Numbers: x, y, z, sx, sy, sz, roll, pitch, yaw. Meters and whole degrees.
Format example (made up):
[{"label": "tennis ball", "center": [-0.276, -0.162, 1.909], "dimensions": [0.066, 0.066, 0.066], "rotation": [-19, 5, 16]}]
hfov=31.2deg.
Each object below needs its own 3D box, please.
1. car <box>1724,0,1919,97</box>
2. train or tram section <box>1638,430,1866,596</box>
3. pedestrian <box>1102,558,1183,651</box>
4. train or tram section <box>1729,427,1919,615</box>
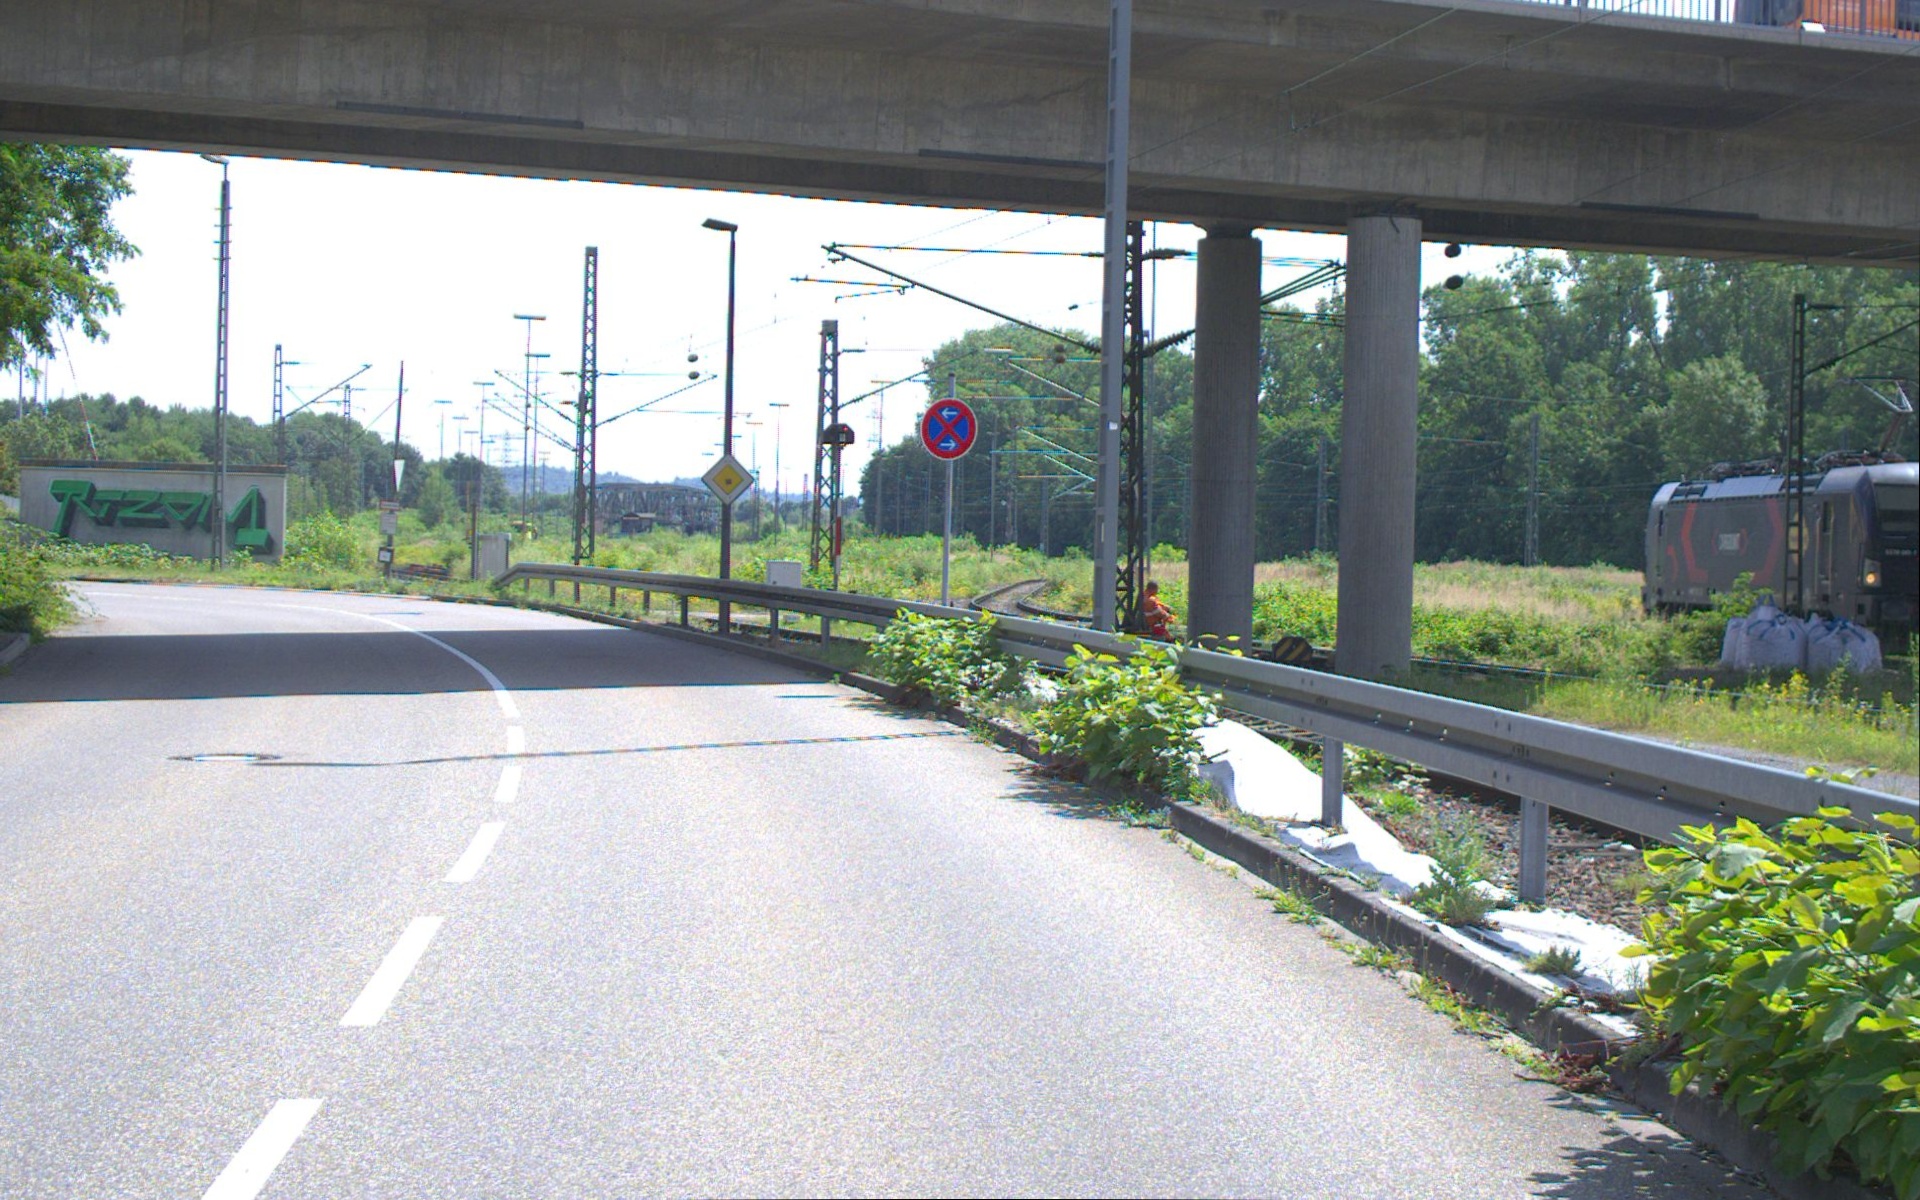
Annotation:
[{"label": "car", "center": [14.135, -8.704, 51.301], "dimensions": [5.319, 2.007, 2.000], "rotation": [-1, 0, -28]}, {"label": "train or tram section", "center": [17.621, -1.895, 77.076], "dimensions": [2.755, 3.465, 8.240], "rotation": [1, 1, -3]}, {"label": "pedestrian", "center": [3.073, 0.072, 58.124], "dimensions": [1.110, 1.534, 1.580], "rotation": [1, 0, -6]}, {"label": "train or tram section", "center": [17.994, -1.510, 68.632], "dimensions": [2.890, 3.497, 8.566], "rotation": [1, 1, -3]}]
